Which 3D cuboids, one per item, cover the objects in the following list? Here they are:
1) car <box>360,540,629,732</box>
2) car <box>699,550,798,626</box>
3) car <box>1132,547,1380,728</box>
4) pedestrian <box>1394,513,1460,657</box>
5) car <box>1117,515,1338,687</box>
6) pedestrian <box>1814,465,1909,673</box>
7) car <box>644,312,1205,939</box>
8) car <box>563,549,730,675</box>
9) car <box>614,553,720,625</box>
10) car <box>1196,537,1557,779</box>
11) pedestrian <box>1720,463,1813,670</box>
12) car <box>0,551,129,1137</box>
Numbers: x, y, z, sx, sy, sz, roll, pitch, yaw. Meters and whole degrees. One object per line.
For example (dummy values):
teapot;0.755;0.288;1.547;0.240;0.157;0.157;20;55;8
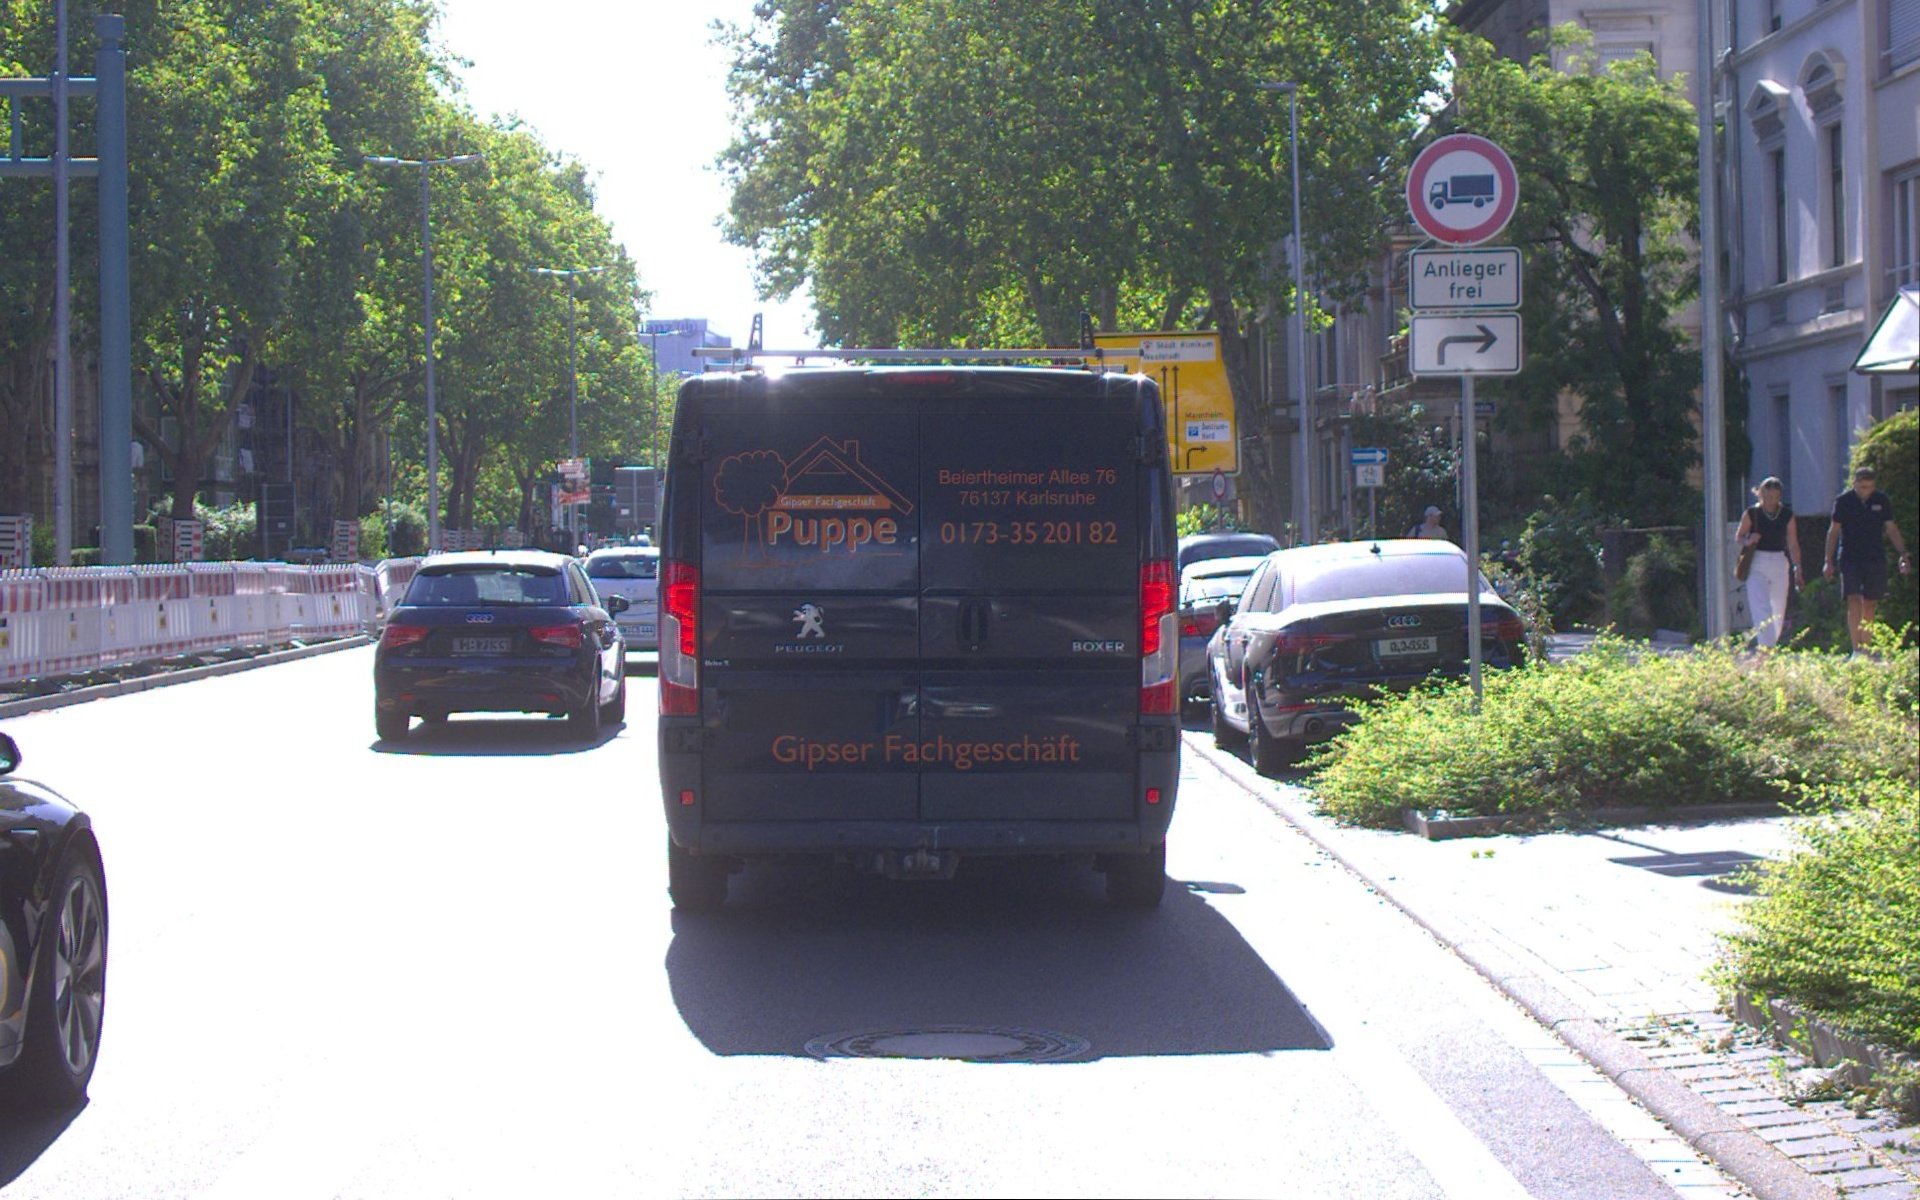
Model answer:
car;-3.618;0.241;27.301;1.746;1.402;4.000;1;1;-2
car;-3.542;-0.216;57.938;1.421;1.221;3.438;-1;1;0
car;2.465;0.272;29.406;1.844;1.403;3.800;-1;1;1
pedestrian;6.639;-0.221;48.919;0.798;2.007;1.168;-1;1;4
car;2.756;-0.013;36.191;1.844;1.638;3.801;-2;1;-2
pedestrian;7.759;-0.271;29.626;0.654;1.749;1.013;-1;1;9
car;-0.188;0.044;14.849;2.095;2.347;3.933;0;1;-2
car;-3.708;0.119;41.134;1.548;1.420;3.555;-1;1;2
car;-6.446;-0.256;76.014;1.993;1.465;4.000;1;2;0
car;2.698;0.323;23.235;1.844;1.437;4.487;-1;1;0
pedestrian;6.973;-0.289;29.755;0.675;1.749;0.875;-1;1;9
car;-3.255;0.605;7.371;1.925;1.407;4.626;1;1;-2
